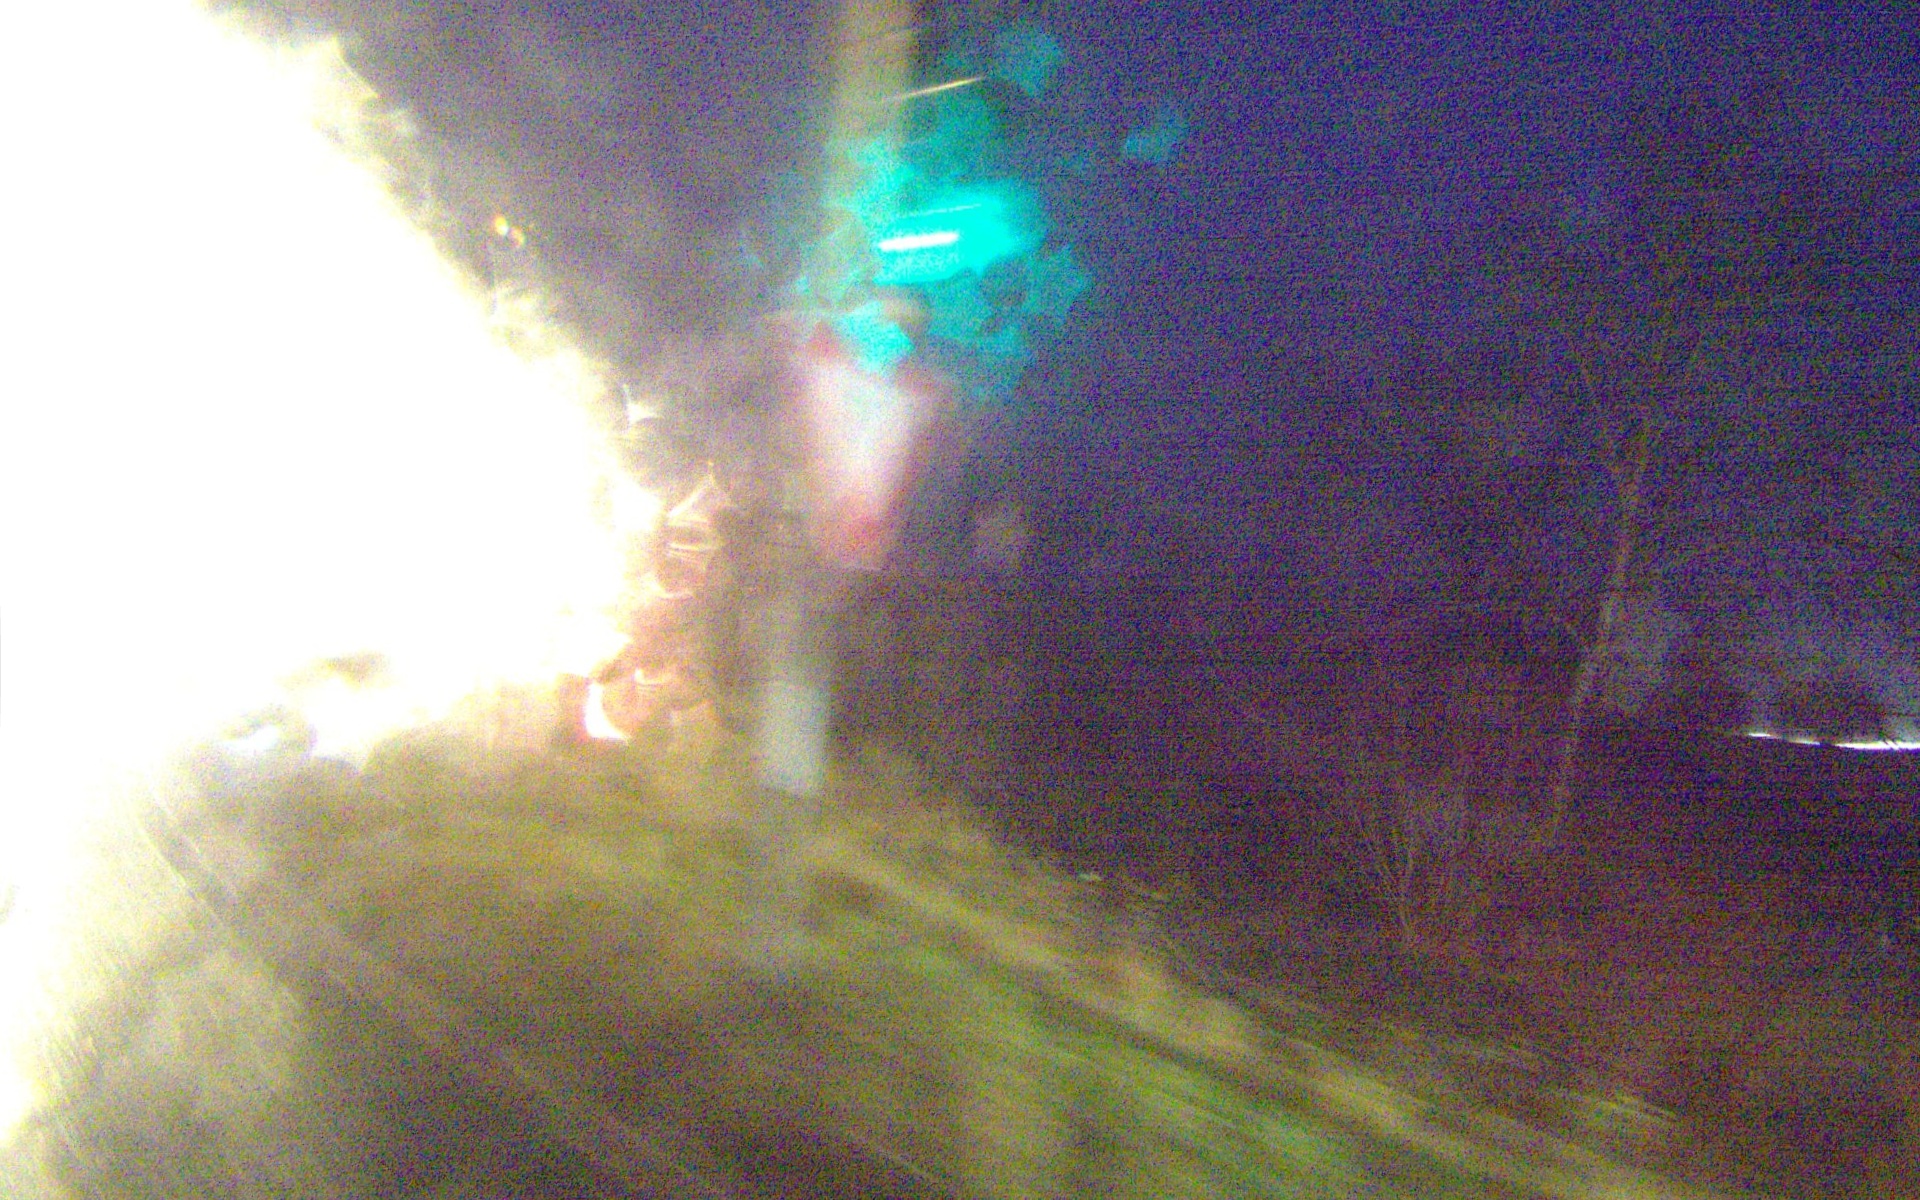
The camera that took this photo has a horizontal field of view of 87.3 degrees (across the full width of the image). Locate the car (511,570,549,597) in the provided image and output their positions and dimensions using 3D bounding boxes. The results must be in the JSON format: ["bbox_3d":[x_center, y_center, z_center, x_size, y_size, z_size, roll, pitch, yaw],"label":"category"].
[{"bbox_3d":[-35.364,-1.321,82.779,2.155,1.616,3.992,12,-5,-16],"label":"car"}]

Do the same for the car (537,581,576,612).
[{"bbox_3d":[-28.099,-0.207,70.135,1.890,1.616,3.992,12,-5,-16],"label":"car"}]

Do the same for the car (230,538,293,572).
[{"bbox_3d":[-43.491,-2.757,62.740,1.863,1.546,4.419,9,-4,-18],"label":"car"}]

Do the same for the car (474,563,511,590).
[{"bbox_3d":[-38.737,-1.890,83.435,2.157,1.616,3.988,12,-6,-19],"label":"car"}]

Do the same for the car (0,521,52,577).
[{"bbox_3d":[-32.682,-1.866,33.425,1.778,1.683,4.477,9,-4,-17],"label":"car"}]
